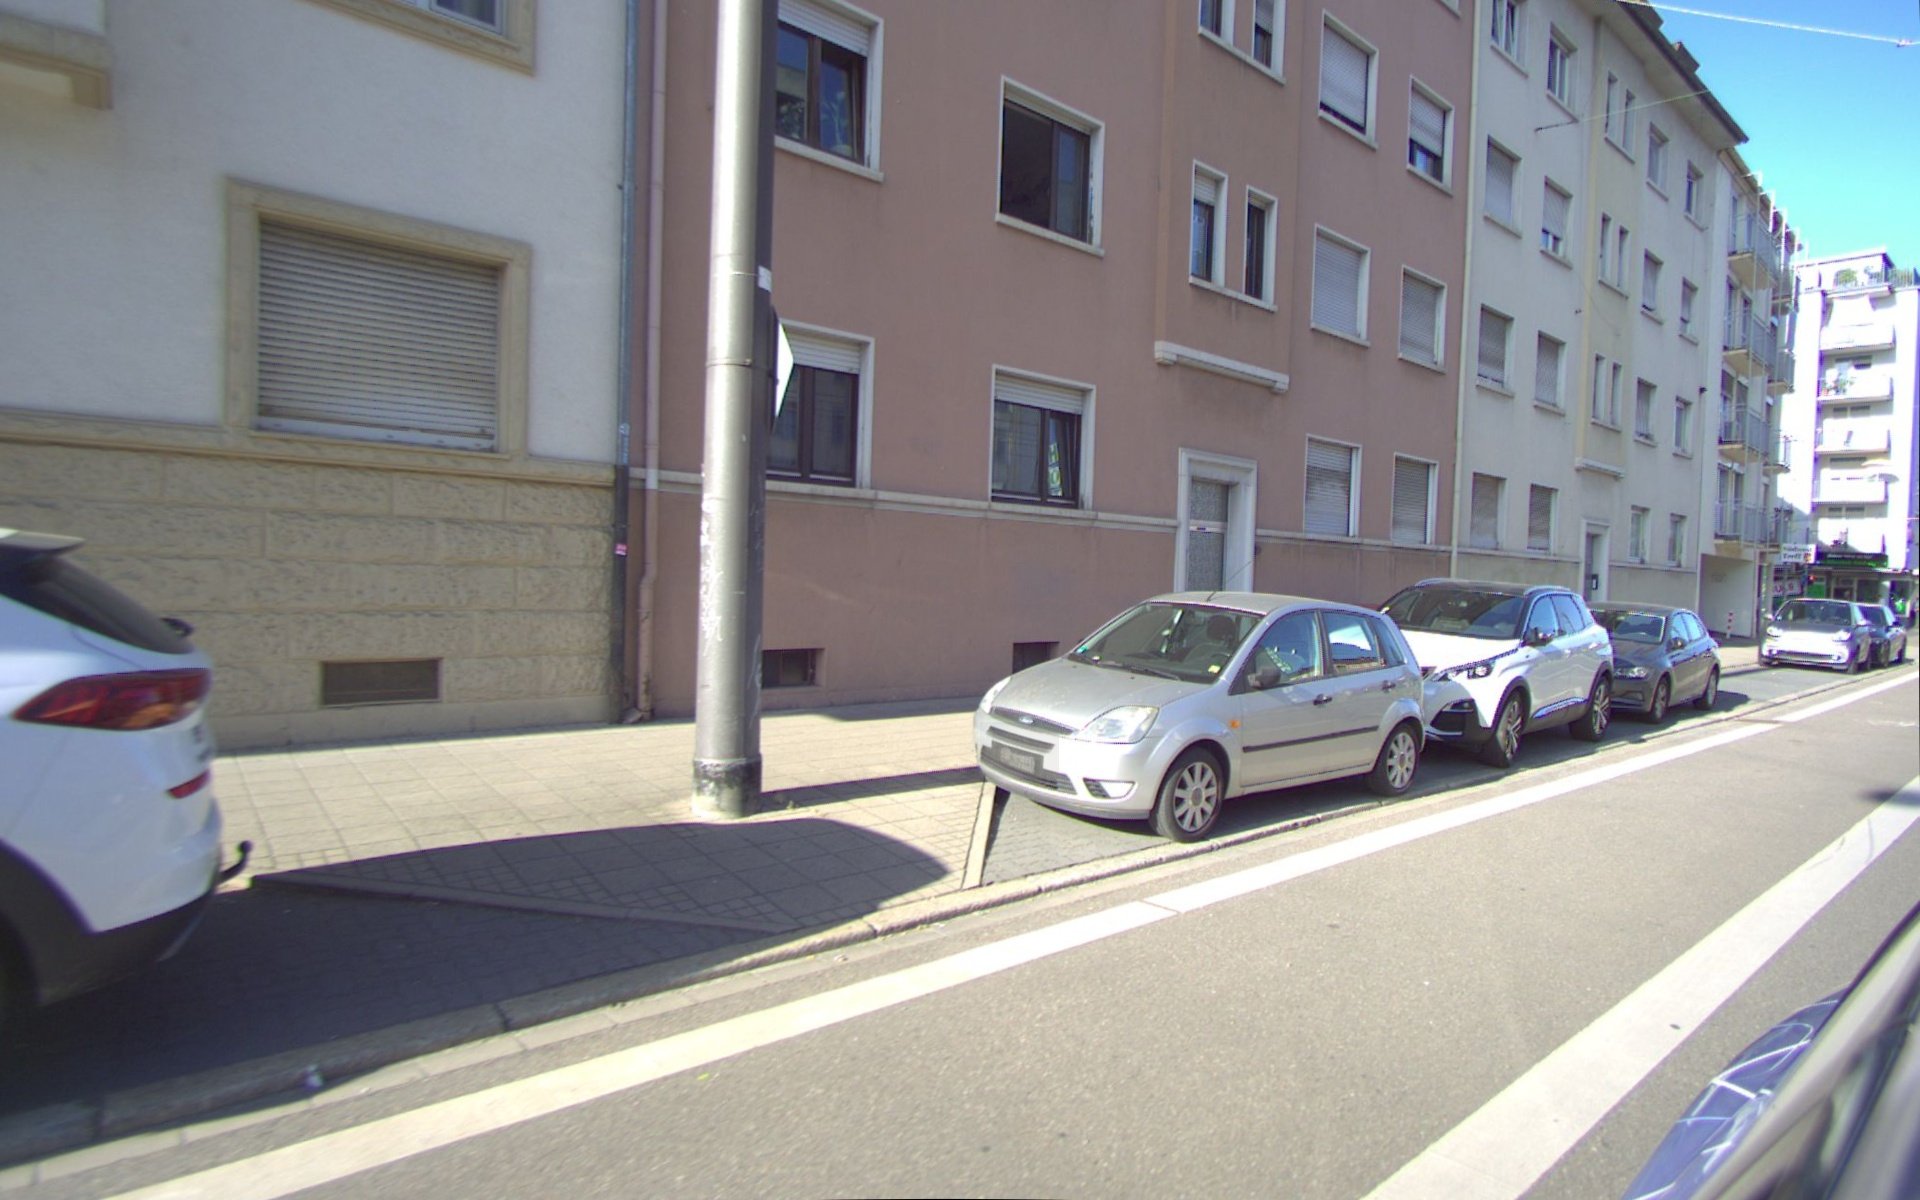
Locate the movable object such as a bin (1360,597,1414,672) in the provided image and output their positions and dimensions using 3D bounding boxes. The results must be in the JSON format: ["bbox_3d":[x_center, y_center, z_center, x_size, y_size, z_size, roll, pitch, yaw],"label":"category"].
[{"bbox_3d":[6.686,0.530,15.854,0.553,1.149,0.604,1,-1,-39],"label":"movable object such as a bin"}]

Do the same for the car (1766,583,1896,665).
[{"bbox_3d":[19.035,0.489,22.097,2.604,1.570,1.761,0,4,-42],"label":"car"}]

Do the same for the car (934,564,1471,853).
[{"bbox_3d":[1.915,0.590,7.366,3.981,1.478,1.627,1,4,-39],"label":"car"}]

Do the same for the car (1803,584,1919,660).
[{"bbox_3d":[22.175,0.494,24.695,4.104,1.570,1.821,0,4,-42],"label":"car"}]

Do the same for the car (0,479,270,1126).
[{"bbox_3d":[-4.295,0.459,2.120,4.496,1.657,1.851,0,3,-42],"label":"car"}]

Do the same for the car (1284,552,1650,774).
[{"bbox_3d":[5.388,0.509,10.486,4.413,1.717,1.805,1,5,-42],"label":"car"}]

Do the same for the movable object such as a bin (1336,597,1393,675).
[{"bbox_3d":[6.143,0.528,15.376,0.553,1.149,0.604,1,-1,-39],"label":"movable object such as a bin"}]

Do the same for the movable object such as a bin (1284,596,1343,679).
[{"bbox_3d":[5.050,0.524,14.464,0.553,1.149,0.604,1,-1,-39],"label":"movable object such as a bin"}]

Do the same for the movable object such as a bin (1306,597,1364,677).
[{"bbox_3d":[5.500,0.526,14.860,0.553,1.149,0.604,1,-1,-39],"label":"movable object such as a bin"}]

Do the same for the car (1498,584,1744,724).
[{"bbox_3d":[9.139,0.629,13.868,4.082,1.496,1.749,0,5,-42],"label":"car"}]

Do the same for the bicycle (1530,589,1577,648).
[{"bbox_3d":[12.210,0.369,20.796,1.733,1.189,0.324,0,-1,-42],"label":"bicycle"}]
